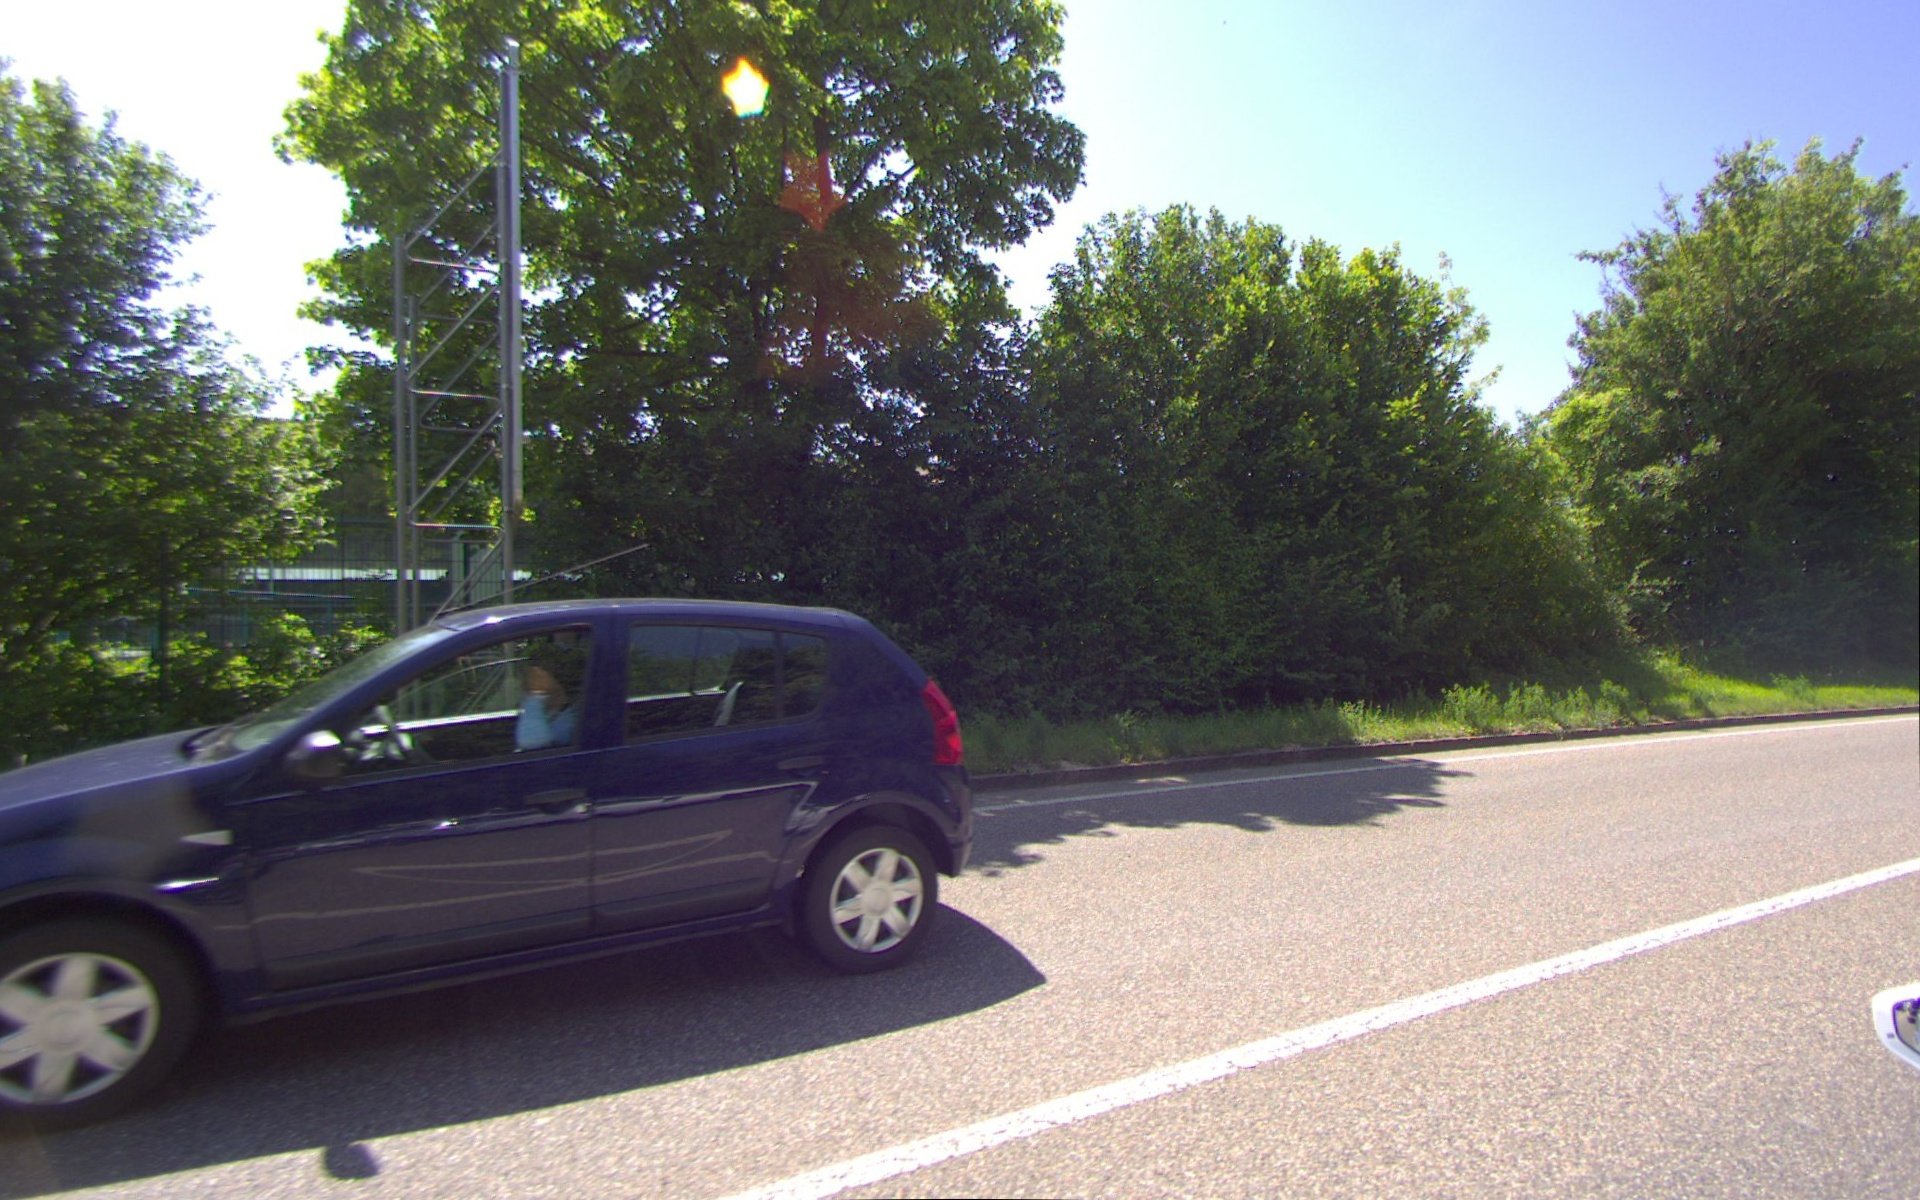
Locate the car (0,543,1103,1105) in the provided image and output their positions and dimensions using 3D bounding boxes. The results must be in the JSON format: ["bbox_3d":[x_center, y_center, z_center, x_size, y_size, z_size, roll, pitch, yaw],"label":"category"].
[{"bbox_3d":[-1.503,0.631,4.351,4.019,1.550,1.676,0,0,-28],"label":"car"}]
